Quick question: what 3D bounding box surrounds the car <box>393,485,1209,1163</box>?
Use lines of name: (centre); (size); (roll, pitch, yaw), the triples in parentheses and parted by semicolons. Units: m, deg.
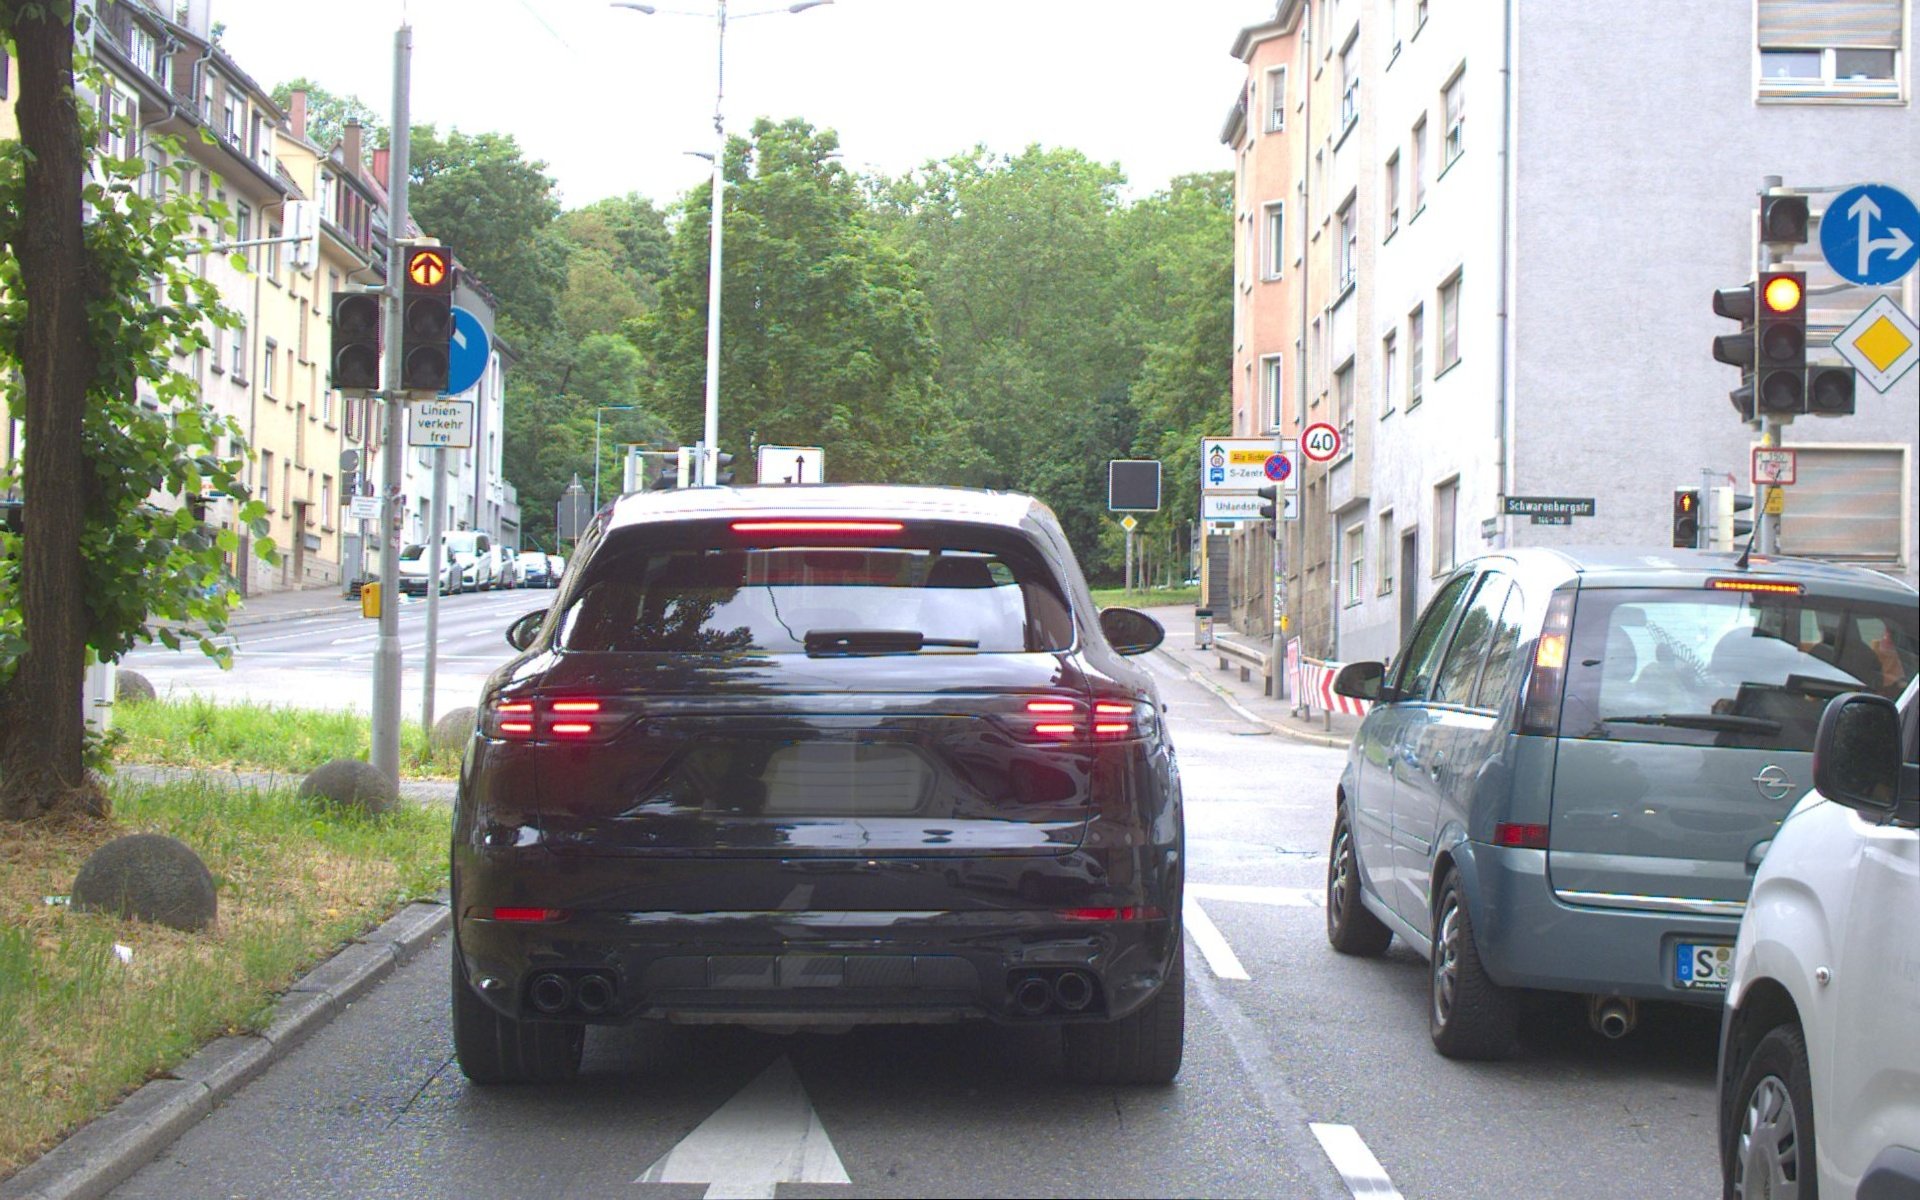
car: (-0.364, 0.503, 10.445); (1.994, 1.647, 4.000); (1, 1, 1)

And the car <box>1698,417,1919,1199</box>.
car: (2.444, 0.640, 5.200); (1.850, 1.819, 5.019); (2, -1, 4)

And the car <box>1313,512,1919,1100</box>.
car: (2.314, 0.585, 11.611); (1.752, 1.588, 3.630); (4, 0, 0)

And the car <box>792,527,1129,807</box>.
car: (0.029, 0.388, 22.491); (1.994, 1.647, 4.000); (1, 0, 1)

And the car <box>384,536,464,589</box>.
car: (-15.912, -1.136, 102.184); (1.794, 1.505, 4.000); (1, 1, -1)

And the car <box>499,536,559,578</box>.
car: (-16.118, -1.629, 128.591); (1.794, 1.505, 4.000); (1, 1, -1)

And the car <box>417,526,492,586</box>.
car: (-15.739, -1.389, 107.207); (1.794, 1.804, 4.000); (1, 1, -1)
